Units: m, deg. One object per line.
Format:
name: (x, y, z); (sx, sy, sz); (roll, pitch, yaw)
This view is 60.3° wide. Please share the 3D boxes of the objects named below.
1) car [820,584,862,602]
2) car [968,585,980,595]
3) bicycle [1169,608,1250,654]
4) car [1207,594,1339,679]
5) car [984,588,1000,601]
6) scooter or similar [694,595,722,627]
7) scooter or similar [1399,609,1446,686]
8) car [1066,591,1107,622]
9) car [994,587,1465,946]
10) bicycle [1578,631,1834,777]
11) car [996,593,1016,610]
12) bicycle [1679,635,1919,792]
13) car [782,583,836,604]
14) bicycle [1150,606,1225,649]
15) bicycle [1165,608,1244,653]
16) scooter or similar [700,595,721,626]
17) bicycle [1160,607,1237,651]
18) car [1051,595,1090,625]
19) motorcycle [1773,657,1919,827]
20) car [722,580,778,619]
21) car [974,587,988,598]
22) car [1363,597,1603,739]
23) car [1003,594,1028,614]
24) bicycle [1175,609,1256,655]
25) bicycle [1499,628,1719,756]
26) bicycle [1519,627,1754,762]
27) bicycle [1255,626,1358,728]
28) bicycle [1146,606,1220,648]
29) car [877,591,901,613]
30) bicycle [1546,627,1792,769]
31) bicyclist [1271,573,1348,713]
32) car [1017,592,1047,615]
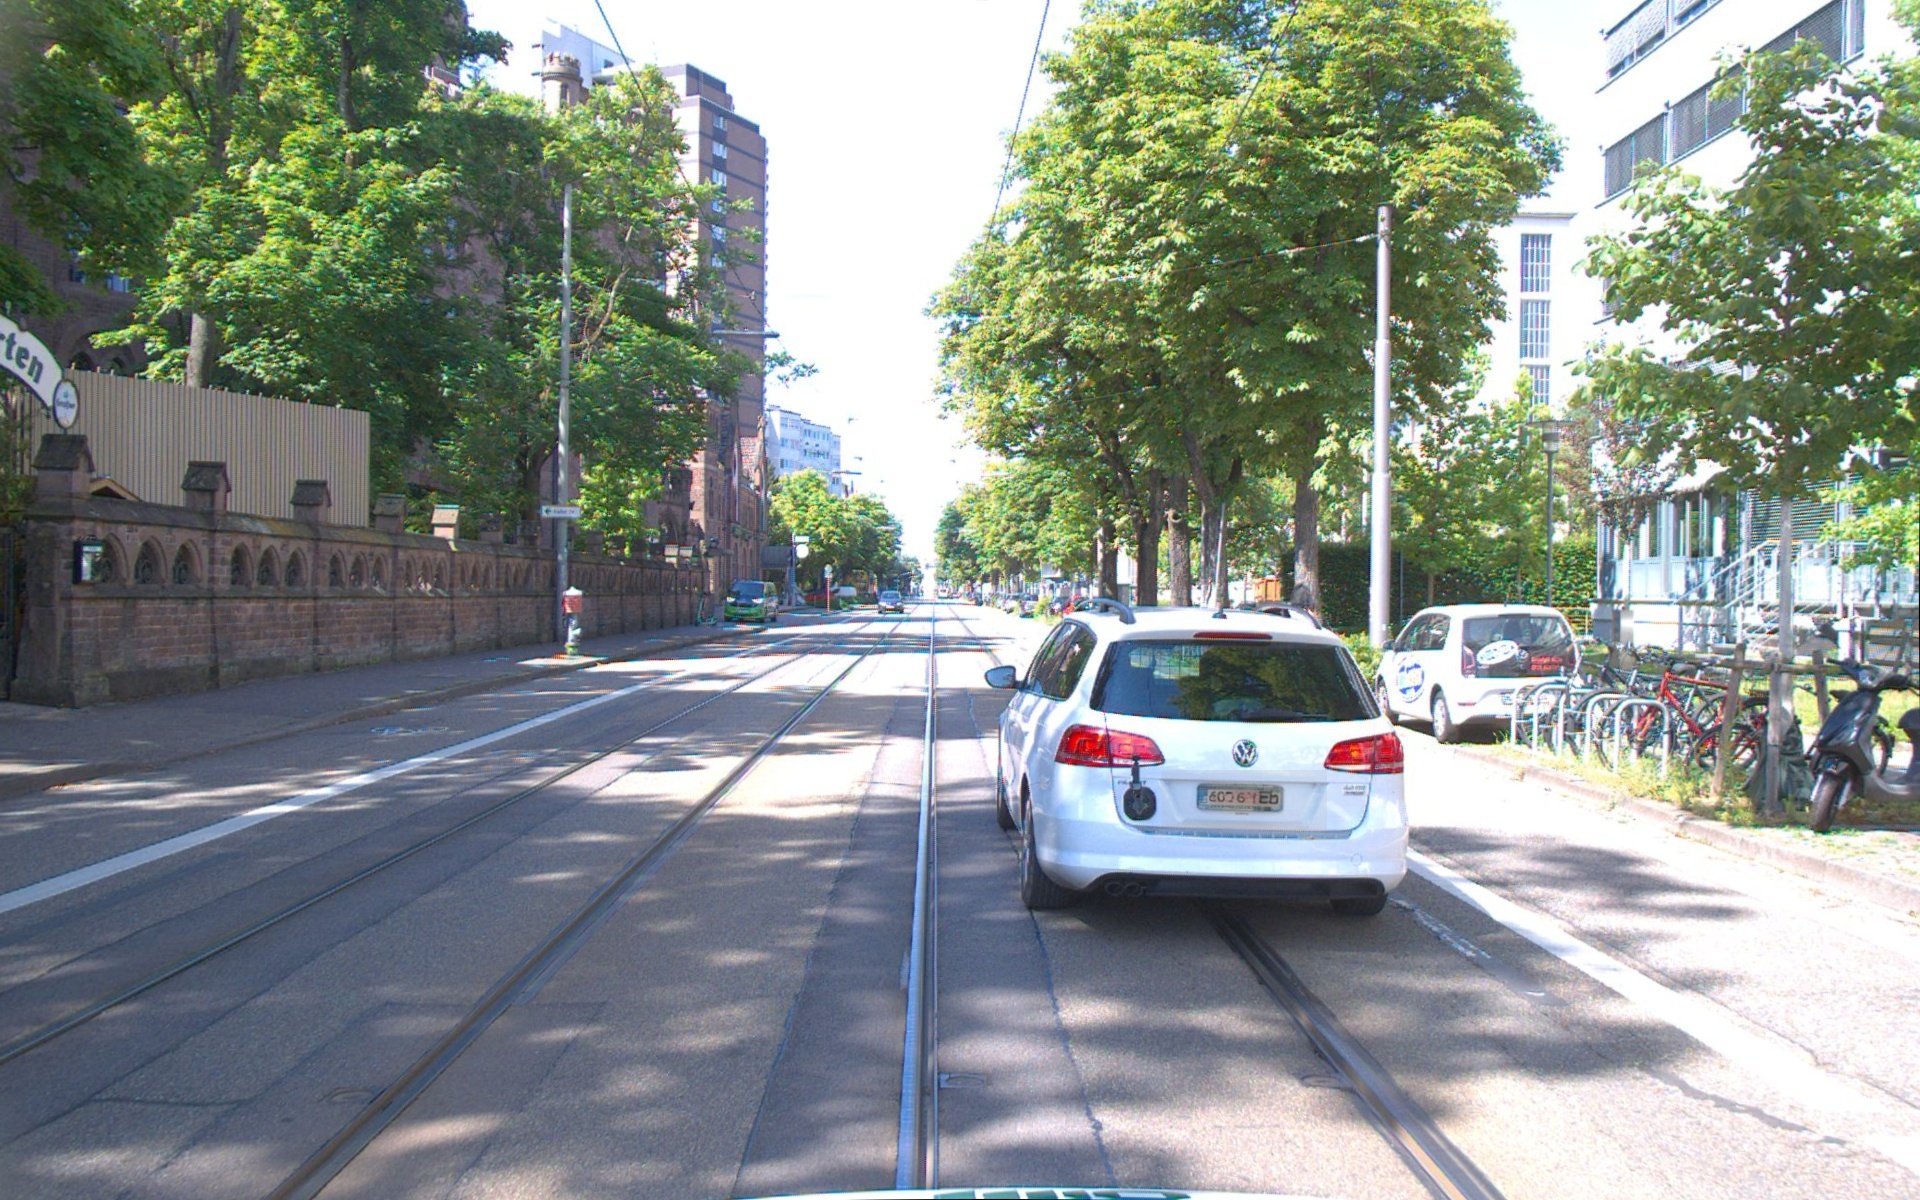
car: (-12.334, -0.735, 171.169); (3.957, 1.847, 1.974); (0, 0, -37)
car: (2.012, -1.415, 240.594); (1.678, 1.425, 3.843); (0, 0, 0)
bicycle: (5.711, 0.707, 37.872); (1.753, 1.028, 0.487); (0, 0, -6)
car: (5.875, 0.644, 31.560); (1.630, 1.469, 4.633); (0, 0, 0)
car: (3.385, -0.588, 176.521); (1.678, 1.425, 3.843); (0, 0, 0)
scooter or similar: (-9.556, 0.412, 62.645); (0.397, 1.175, 1.140); (0, 0, 33)
scooter or similar: (7.103, 0.719, 25.438); (0.371, 1.147, 1.090); (0, 0, -3)
car: (5.396, 0.255, 70.780); (1.677, 1.303, 3.845); (0, 0, 3)
car: (1.168, 0.694, 9.066); (1.718, 1.467, 4.411); (1, 0, -2)
bicycle: (6.197, 0.857, 13.780); (1.874, 1.101, 0.550); (2, 0, -4)
car: (4.015, 0.108, 145.543); (1.678, 1.425, 3.843); (0, 0, 0)
bicycle: (6.441, 0.846, 12.537); (1.739, 1.139, 0.596); (0, 0, -4)
car: (-12.612, -0.541, 137.891); (4.060, 1.557, 1.919); (2, 1, -22)
bicycle: (5.548, 0.667, 40.301); (1.753, 1.028, 0.487); (0, 0, -6)
bicycle: (5.677, 0.698, 38.448); (1.753, 1.028, 0.487); (0, 0, -6)
scooter or similar: (-9.952, 0.397, 65.910); (0.413, 1.221, 1.144); (0, 0, 14)
bicycle: (5.624, 0.688, 39.031); (1.753, 1.028, 0.487); (0, 0, -6)
car: (5.374, 0.466, 80.756); (1.678, 1.425, 3.843); (0, 0, 1)
motorcycle: (6.216, 0.923, 10.937); (1.436, 1.064, 0.534); (0, 0, -4)
car: (-10.009, -0.052, 79.001); (1.952, 1.788, 4.713); (0, 0, 1)
car: (2.658, -0.949, 206.880); (1.678, 1.425, 3.843); (0, 0, 0)
car: (6.007, 0.715, 19.453); (1.558, 1.476, 3.946); (0, 0, 0)
car: (4.014, 0.253, 120.137); (1.678, 1.425, 3.842); (0, 0, -1)
bicycle: (5.750, 0.716, 37.290); (1.753, 1.028, 0.487); (0, 0, -6)
bicycle: (6.121, 0.858, 15.633); (1.848, 1.101, 0.550); (3, 0, -4)
bicycle: (6.117, 0.847, 14.991); (1.874, 1.101, 0.550); (3, 0, -4)
bicycle: (4.136, 0.899, 19.894); (0.794, 1.097, 2.012); (1, 0, 0)
bicycle: (5.502, 0.658, 40.820); (1.753, 1.028, 0.487); (0, 0, -6)
car: (-4.681, 0.143, 109.777); (1.462, 1.409, 3.642); (0, 0, 0)
bicycle: (6.148, 0.846, 14.379); (1.874, 1.101, 0.550); (3, 0, -4)
bicyclist: (4.209, 0.512, 19.970); (0.770, 1.657, 0.738); (0, 0, -1)
car: (4.403, 0.200, 102.169); (1.678, 1.425, 3.843); (0, 0, 0)
